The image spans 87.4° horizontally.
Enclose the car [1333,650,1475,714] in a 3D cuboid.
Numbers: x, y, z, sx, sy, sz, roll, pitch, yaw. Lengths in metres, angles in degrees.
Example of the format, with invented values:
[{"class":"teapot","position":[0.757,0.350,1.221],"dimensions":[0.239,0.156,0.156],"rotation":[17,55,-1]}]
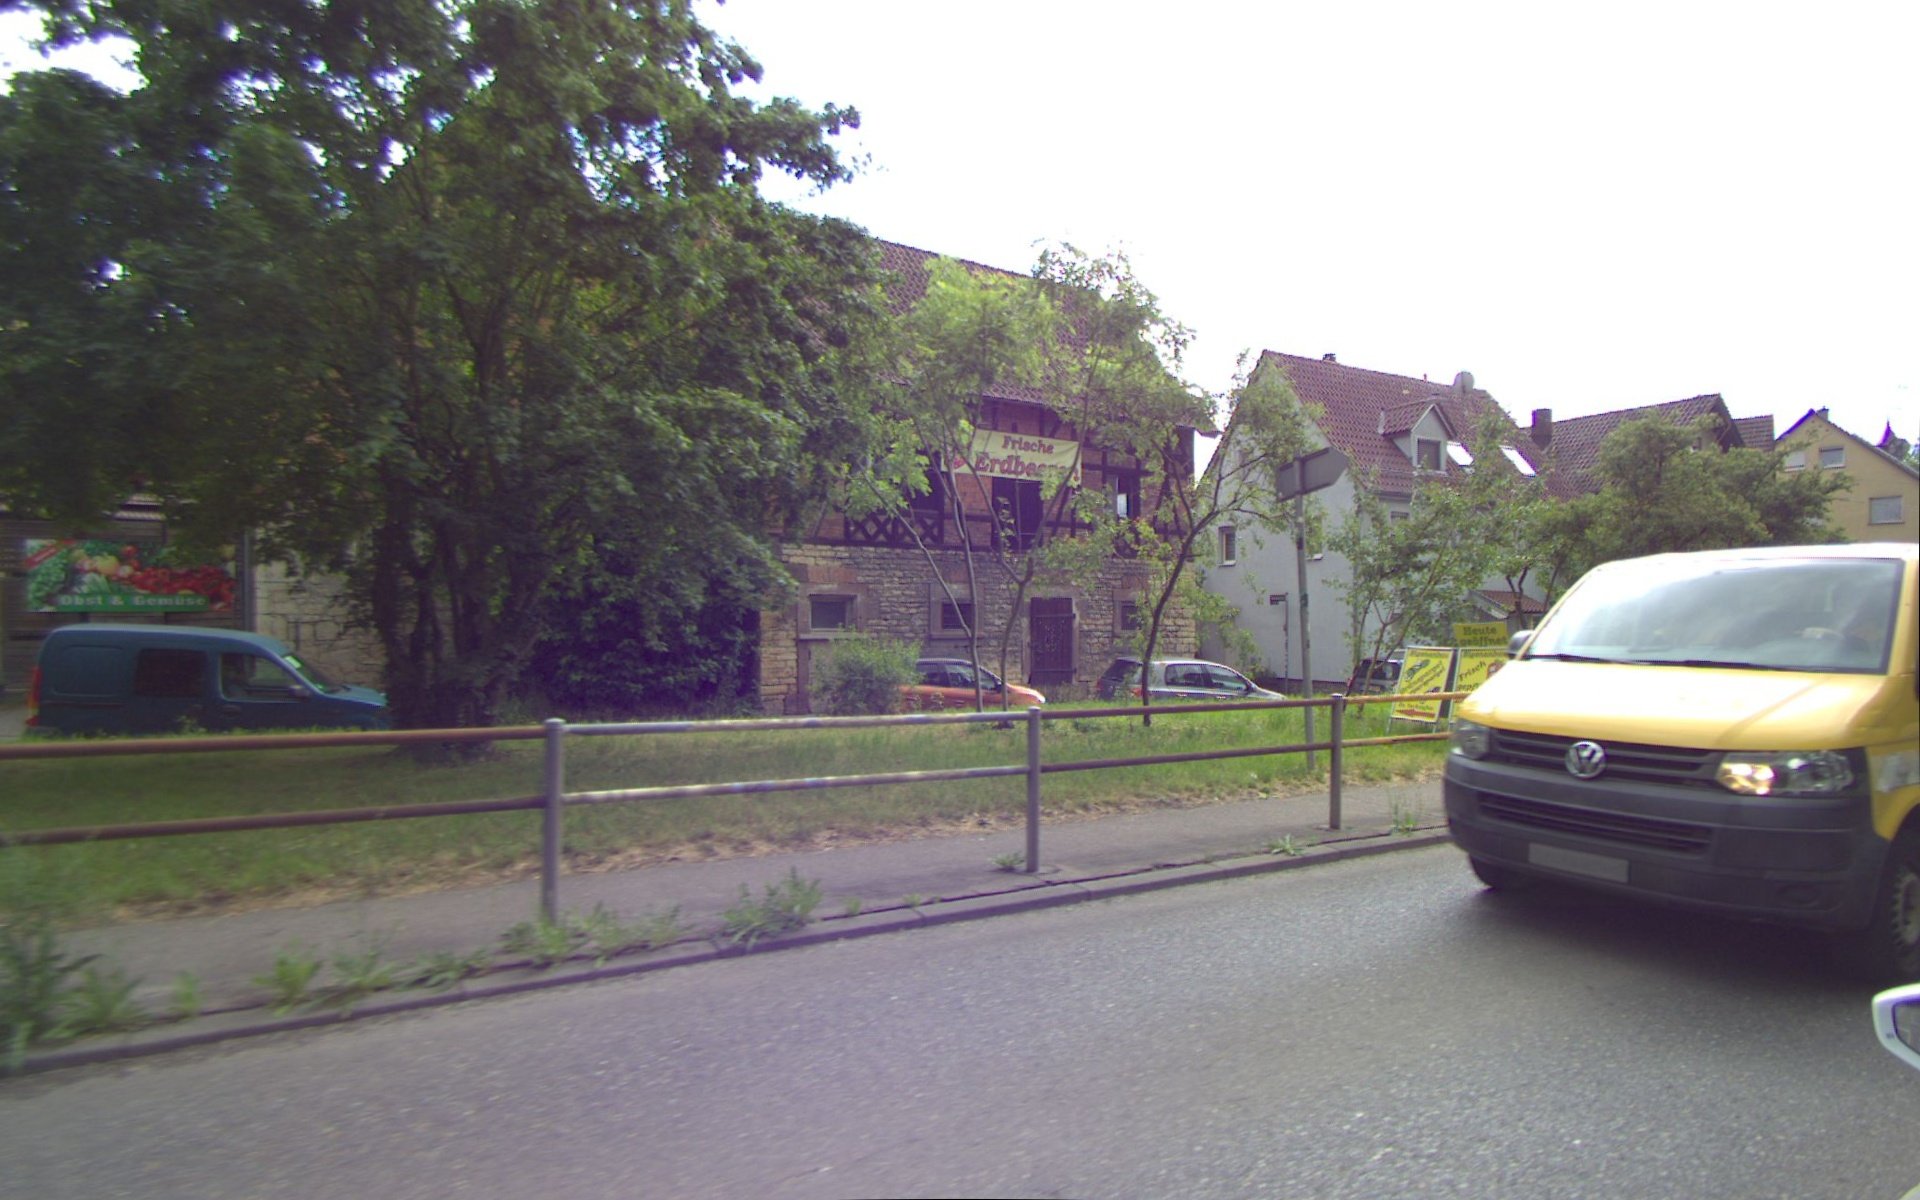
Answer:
[{"class":"car","position":[9.689,1.751,21.946],"dimensions":[2.519,1.294,1.549],"rotation":[1,-3,-24]}]

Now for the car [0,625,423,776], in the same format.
[{"class":"car","position":[-9.036,1.177,12.623],"dimensions":[3.949,1.639,1.805],"rotation":[1,-3,-28]}]

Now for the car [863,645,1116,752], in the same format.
[{"class":"car","position":[0.516,1.591,17.128],"dimensions":[3.949,1.639,1.805],"rotation":[1,-3,-28]}]

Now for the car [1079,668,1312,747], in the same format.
[{"class":"car","position":[4.470,1.970,19.108],"dimensions":[3.945,1.293,1.989],"rotation":[1,-3,-24]}]

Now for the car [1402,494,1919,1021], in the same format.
[{"class":"car","position":[4.835,0.653,5.741],"dimensions":[4.713,1.956,1.837],"rotation":[2,-1,-30]}]
